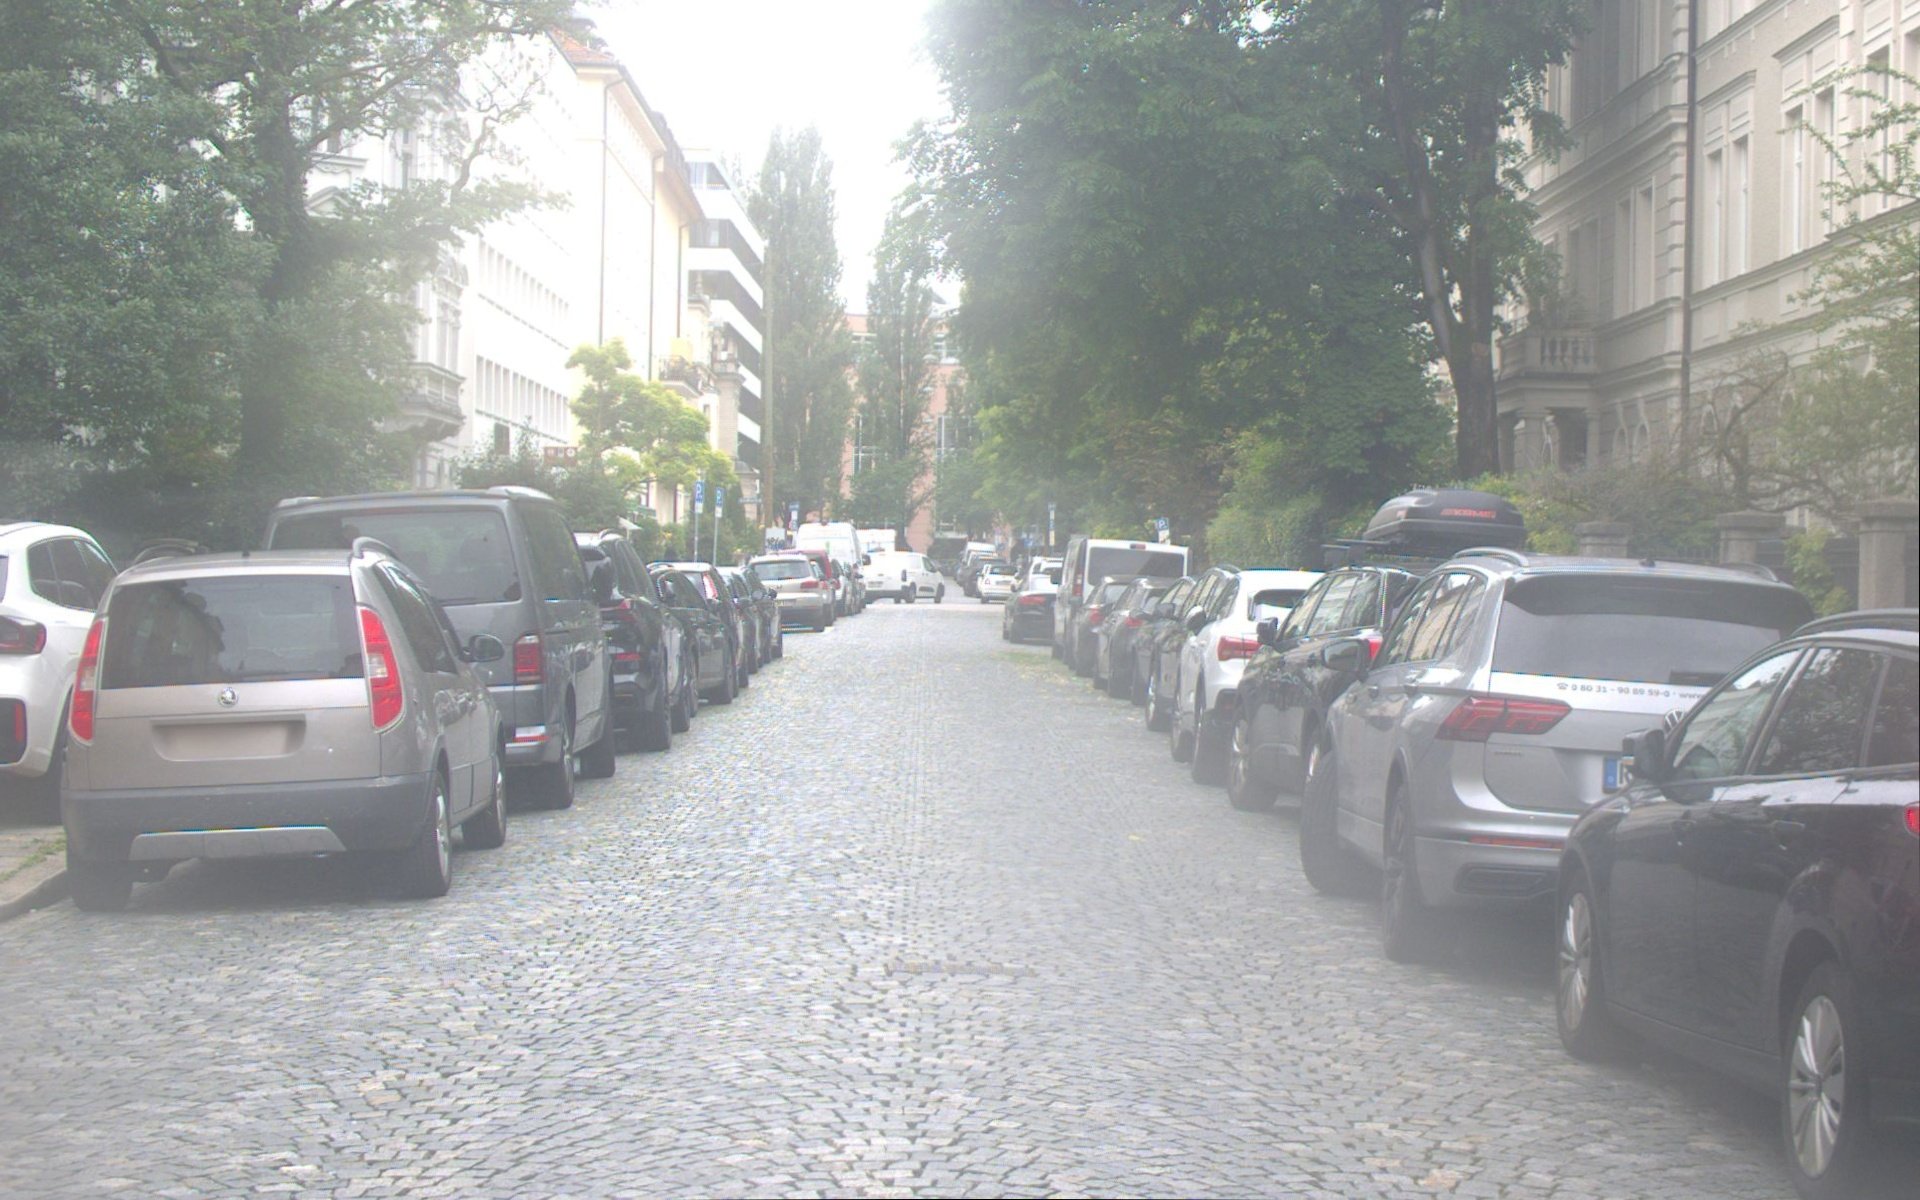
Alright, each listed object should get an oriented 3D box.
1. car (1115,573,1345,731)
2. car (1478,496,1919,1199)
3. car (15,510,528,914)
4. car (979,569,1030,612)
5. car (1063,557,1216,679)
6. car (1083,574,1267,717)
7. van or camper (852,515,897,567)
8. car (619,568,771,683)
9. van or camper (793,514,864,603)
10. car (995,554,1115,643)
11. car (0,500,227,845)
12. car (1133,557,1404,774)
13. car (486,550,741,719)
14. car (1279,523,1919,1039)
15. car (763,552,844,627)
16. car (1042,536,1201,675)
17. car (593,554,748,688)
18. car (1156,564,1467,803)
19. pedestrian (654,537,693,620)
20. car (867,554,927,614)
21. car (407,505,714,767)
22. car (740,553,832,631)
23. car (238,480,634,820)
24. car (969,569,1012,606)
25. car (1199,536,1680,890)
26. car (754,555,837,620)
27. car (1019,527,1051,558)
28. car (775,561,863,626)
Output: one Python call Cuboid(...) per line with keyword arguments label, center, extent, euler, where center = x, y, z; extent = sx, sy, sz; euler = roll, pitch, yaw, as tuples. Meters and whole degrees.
Cuboid(label="car", center=(2.790, 0.503, 36.343), extent=(1.694, 1.435, 4.062), euler=(4, 0, -5))
Cuboid(label="car", center=(2.866, 0.702, 9.665), extent=(1.873, 1.729, 4.659), euler=(5, 0, -1))
Cuboid(label="car", center=(-3.274, 0.458, 17.184), extent=(1.865, 1.729, 4.404), euler=(-1, 1, -3))
Cuboid(label="car", center=(1.623, -0.356, 127.164), extent=(1.790, 1.515, 4.000), euler=(2, 0, 0))
Cuboid(label="car", center=(2.448, 0.218, 47.819), extent=(1.837, 1.485, 4.421), euler=(4, 0, 1))
Cuboid(label="car", center=(2.489, 0.495, 40.736), extent=(1.713, 1.467, 4.269), euler=(4, 0, -1))
Cuboid(label="van or camper", center=(-4.716, -3.249, 190.589), extent=(2.256, 2.733, 5.098), euler=(2, 0, 0))
Cuboid(label="car", center=(-3.523, 0.303, 46.409), extent=(1.783, 1.412, 4.497), euler=(-2, 1, -2))
Cuboid(label="van or camper", center=(-4.037, -1.283, 106.033), extent=(1.993, 2.643, 4.000), euler=(-1, 0, 0))
Cuboid(label="car", center=(1.764, -0.049, 65.488), extent=(1.873, 1.498, 4.512), euler=(4, 0, -2))
Cuboid(label="car", center=(-5.669, 0.280, 19.646), extent=(1.945, 1.729, 4.658), euler=(4, 0, -1))
Cuboid(label="car", center=(2.663, 0.522, 30.732), extent=(1.873, 1.664, 4.657), euler=(4, 0, 0))
Cuboid(label="car", center=(-3.355, 0.292, 34.193), extent=(1.978, 1.556, 5.017), euler=(0, 1, 1))
Cuboid(label="car", center=(2.541, 0.631, 14.727), extent=(1.873, 1.729, 4.891), euler=(4, 0, 1))
Cuboid(label="car", center=(-3.876, -0.275, 85.589), extent=(1.873, 1.770, 4.123), euler=(-2, 1, -1))
Cuboid(label="car", center=(2.443, 0.048, 53.317), extent=(1.873, 1.922, 5.165), euler=(4, 0, -2))
Cuboid(label="car", center=(-3.255, 0.207, 39.220), extent=(1.662, 1.439, 4.172), euler=(0, 1, -3))
Cuboid(label="car", center=(2.529, 0.543, 25.753), extent=(1.873, 1.485, 4.616), euler=(4, 1, 1))
Cuboid(label="pedestrian", center=(-6.738, -0.504, 80.897), extent=(0.792, 1.911, 0.759), euler=(3, 0, -1))
Cuboid(label="car", center=(-2.197, -0.576, 121.276), extent=(1.993, 2.007, 4.000), euler=(2, 0, 0))
Cuboid(label="car", center=(-3.199, 0.245, 28.518), extent=(1.993, 1.910, 5.178), euler=(-2, 1, -1))
Cuboid(label="car", center=(-3.689, -0.190, 73.118), extent=(1.873, 1.574, 4.256), euler=(-1, 1, -2))
Cuboid(label="car", center=(-3.213, 0.260, 21.993), extent=(1.873, 1.910, 4.828), euler=(-1, 1, -1))
Cuboid(label="car", center=(1.311, -0.567, 147.670), extent=(1.790, 1.515, 4.000), euler=(2, 0, 0))
Cuboid(label="car", center=(2.712, 0.574, 20.620), extent=(1.873, 1.729, 4.748), euler=(5, 0, -3))
Cuboid(label="car", center=(-3.785, -0.301, 79.320), extent=(1.873, 1.446, 4.208), euler=(0, 1, -2))
Cuboid(label="car", center=(4.996, -3.840, 230.048), extent=(1.993, 2.007, 4.000), euler=(2, 0, 0))
Cuboid(label="car", center=(-3.715, -0.175, 91.096), extent=(1.873, 1.574, 4.207), euler=(4, 0, 3))
